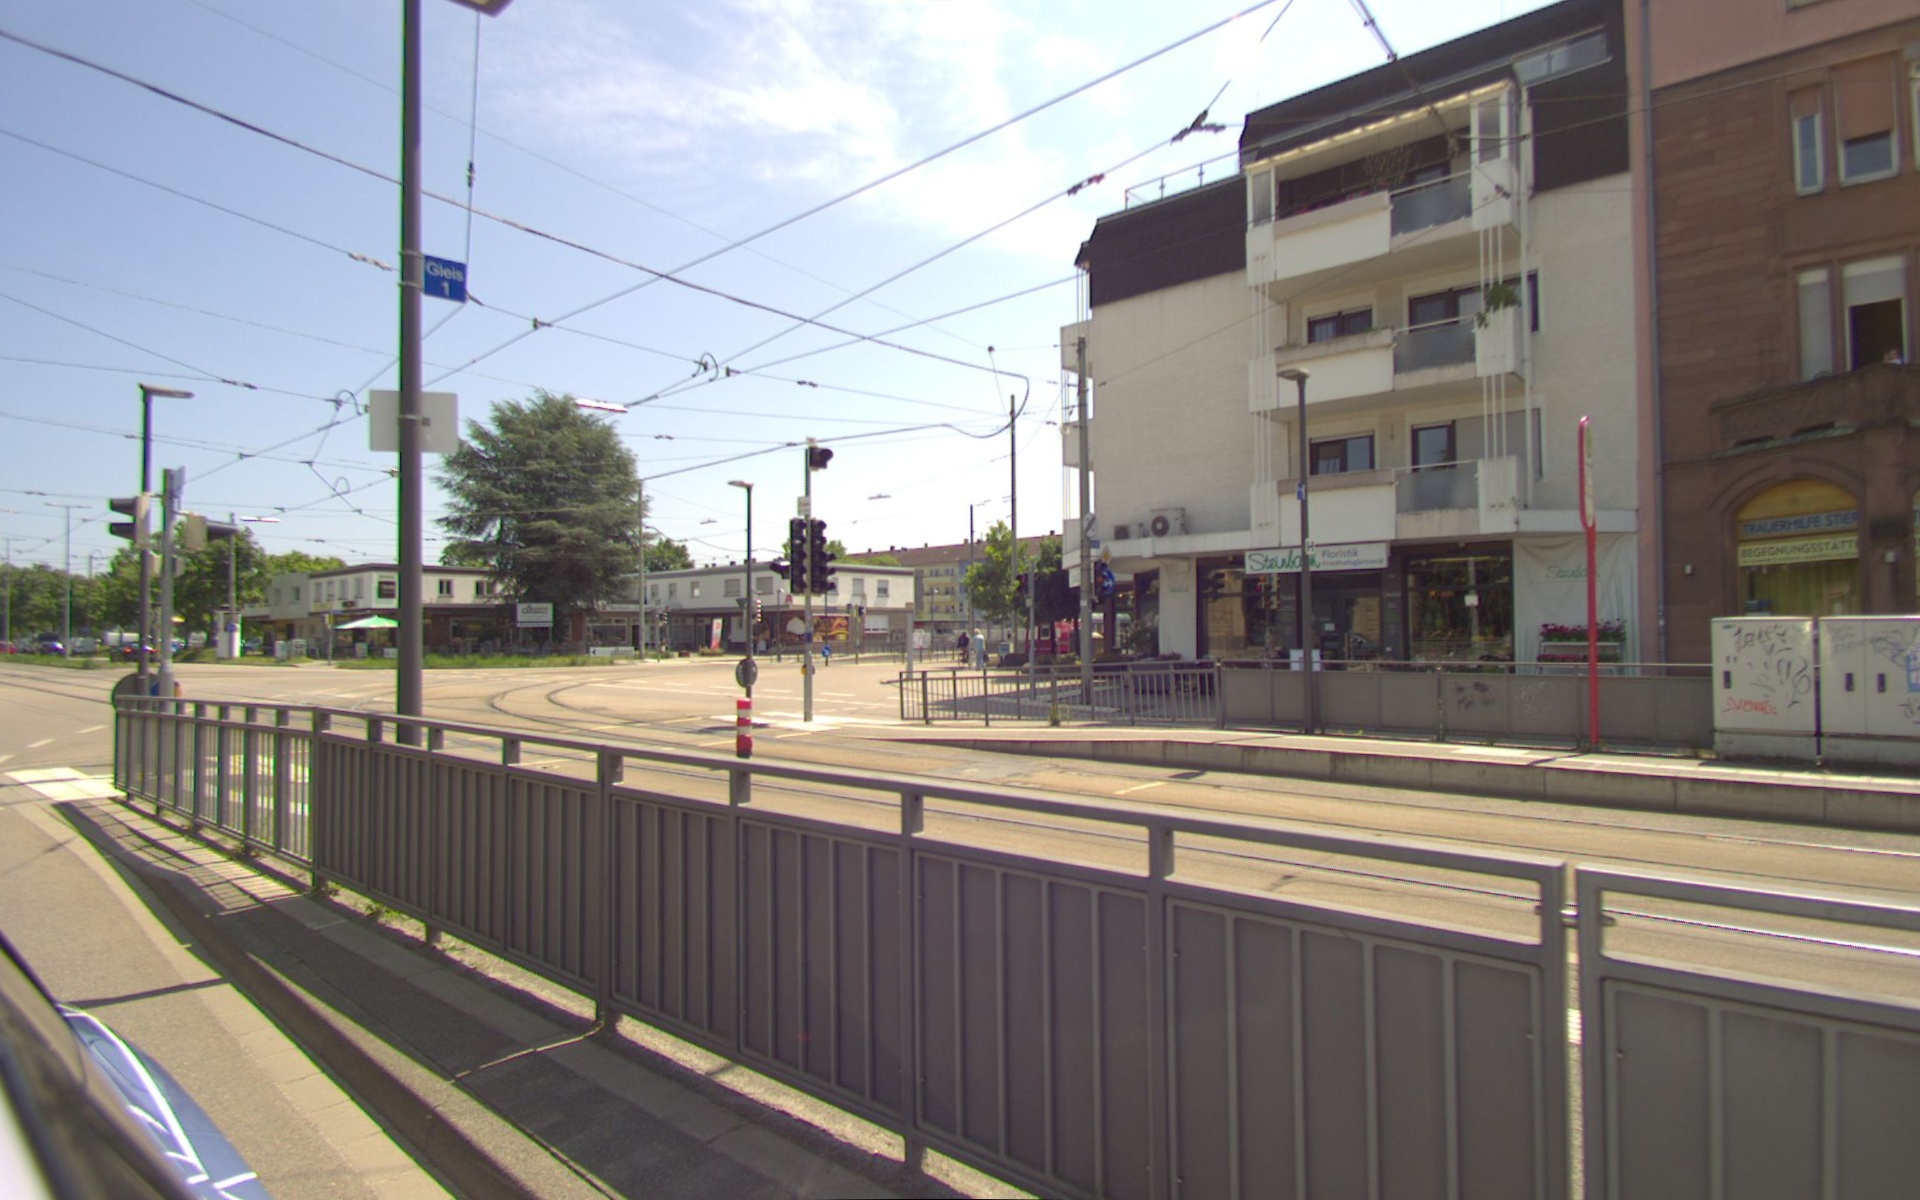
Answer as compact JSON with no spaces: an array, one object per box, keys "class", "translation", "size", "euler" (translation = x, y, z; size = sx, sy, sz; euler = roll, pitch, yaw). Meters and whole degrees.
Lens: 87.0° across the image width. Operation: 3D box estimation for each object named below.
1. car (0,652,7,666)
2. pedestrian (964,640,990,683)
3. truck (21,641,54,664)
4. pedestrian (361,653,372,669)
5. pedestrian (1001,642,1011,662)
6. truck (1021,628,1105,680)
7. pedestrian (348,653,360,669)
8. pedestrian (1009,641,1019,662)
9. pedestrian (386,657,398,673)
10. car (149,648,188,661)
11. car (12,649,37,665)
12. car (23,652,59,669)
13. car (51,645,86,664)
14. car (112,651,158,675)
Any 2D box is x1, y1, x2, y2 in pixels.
[{"class":"car","translation":[-105.037,6.384,109.845],"size":[3.822,1.495,1.609],"euler":[-2,-3,36]},{"class":"pedestrian","translation":[0.684,2.516,41.455],"size":[0.690,1.709,0.809],"euler":[2,-4,-38]},{"class":"truck","translation":[-107.233,6.092,117.643],"size":[4.926,2.561,2.196],"euler":[-3,-4,41]},{"class":"pedestrian","translation":[-44.598,4.562,76.092],"size":[0.674,1.208,0.512],"euler":[-3,-4,41]},{"class":"pedestrian","translation":[4.316,4.887,95.471],"size":[0.679,1.917,0.640],"euler":[-3,-4,40]},{"class":"truck","translation":[5.711,2.970,55.647],"size":[2.186,2.719,4.974],"euler":[-3,-4,41]},{"class":"pedestrian","translation":[-45.399,4.570,75.828],"size":[0.491,1.248,0.569],"euler":[-3,-4,40]},{"class":"pedestrian","translation":[5.101,4.804,94.837],"size":[0.679,1.917,0.640],"euler":[-3,-4,40]},{"class":"pedestrian","translation":[-40.423,4.602,72.049],"size":[0.674,1.136,0.512],"euler":[-3,-4,41]},{"class":"car","translation":[-96.263,6.647,123.068],"size":[1.600,1.517,3.374],"euler":[-2,-3,35]},{"class":"car","translation":[-117.277,7.132,126.861],"size":[4.506,1.989,1.660],"euler":[-3,-4,40]},{"class":"car","translation":[-80.692,5.343,88.849],"size":[3.860,1.450,1.693],"euler":[-3,-4,38]},{"class":"car","translation":[-90.210,5.497,102.401],"size":[4.659,1.898,1.973],"euler":[-3,-4,41]},{"class":"car","translation":[-56.276,4.271,68.996],"size":[4.494,1.591,1.774],"euler":[-3,-4,43]}]
